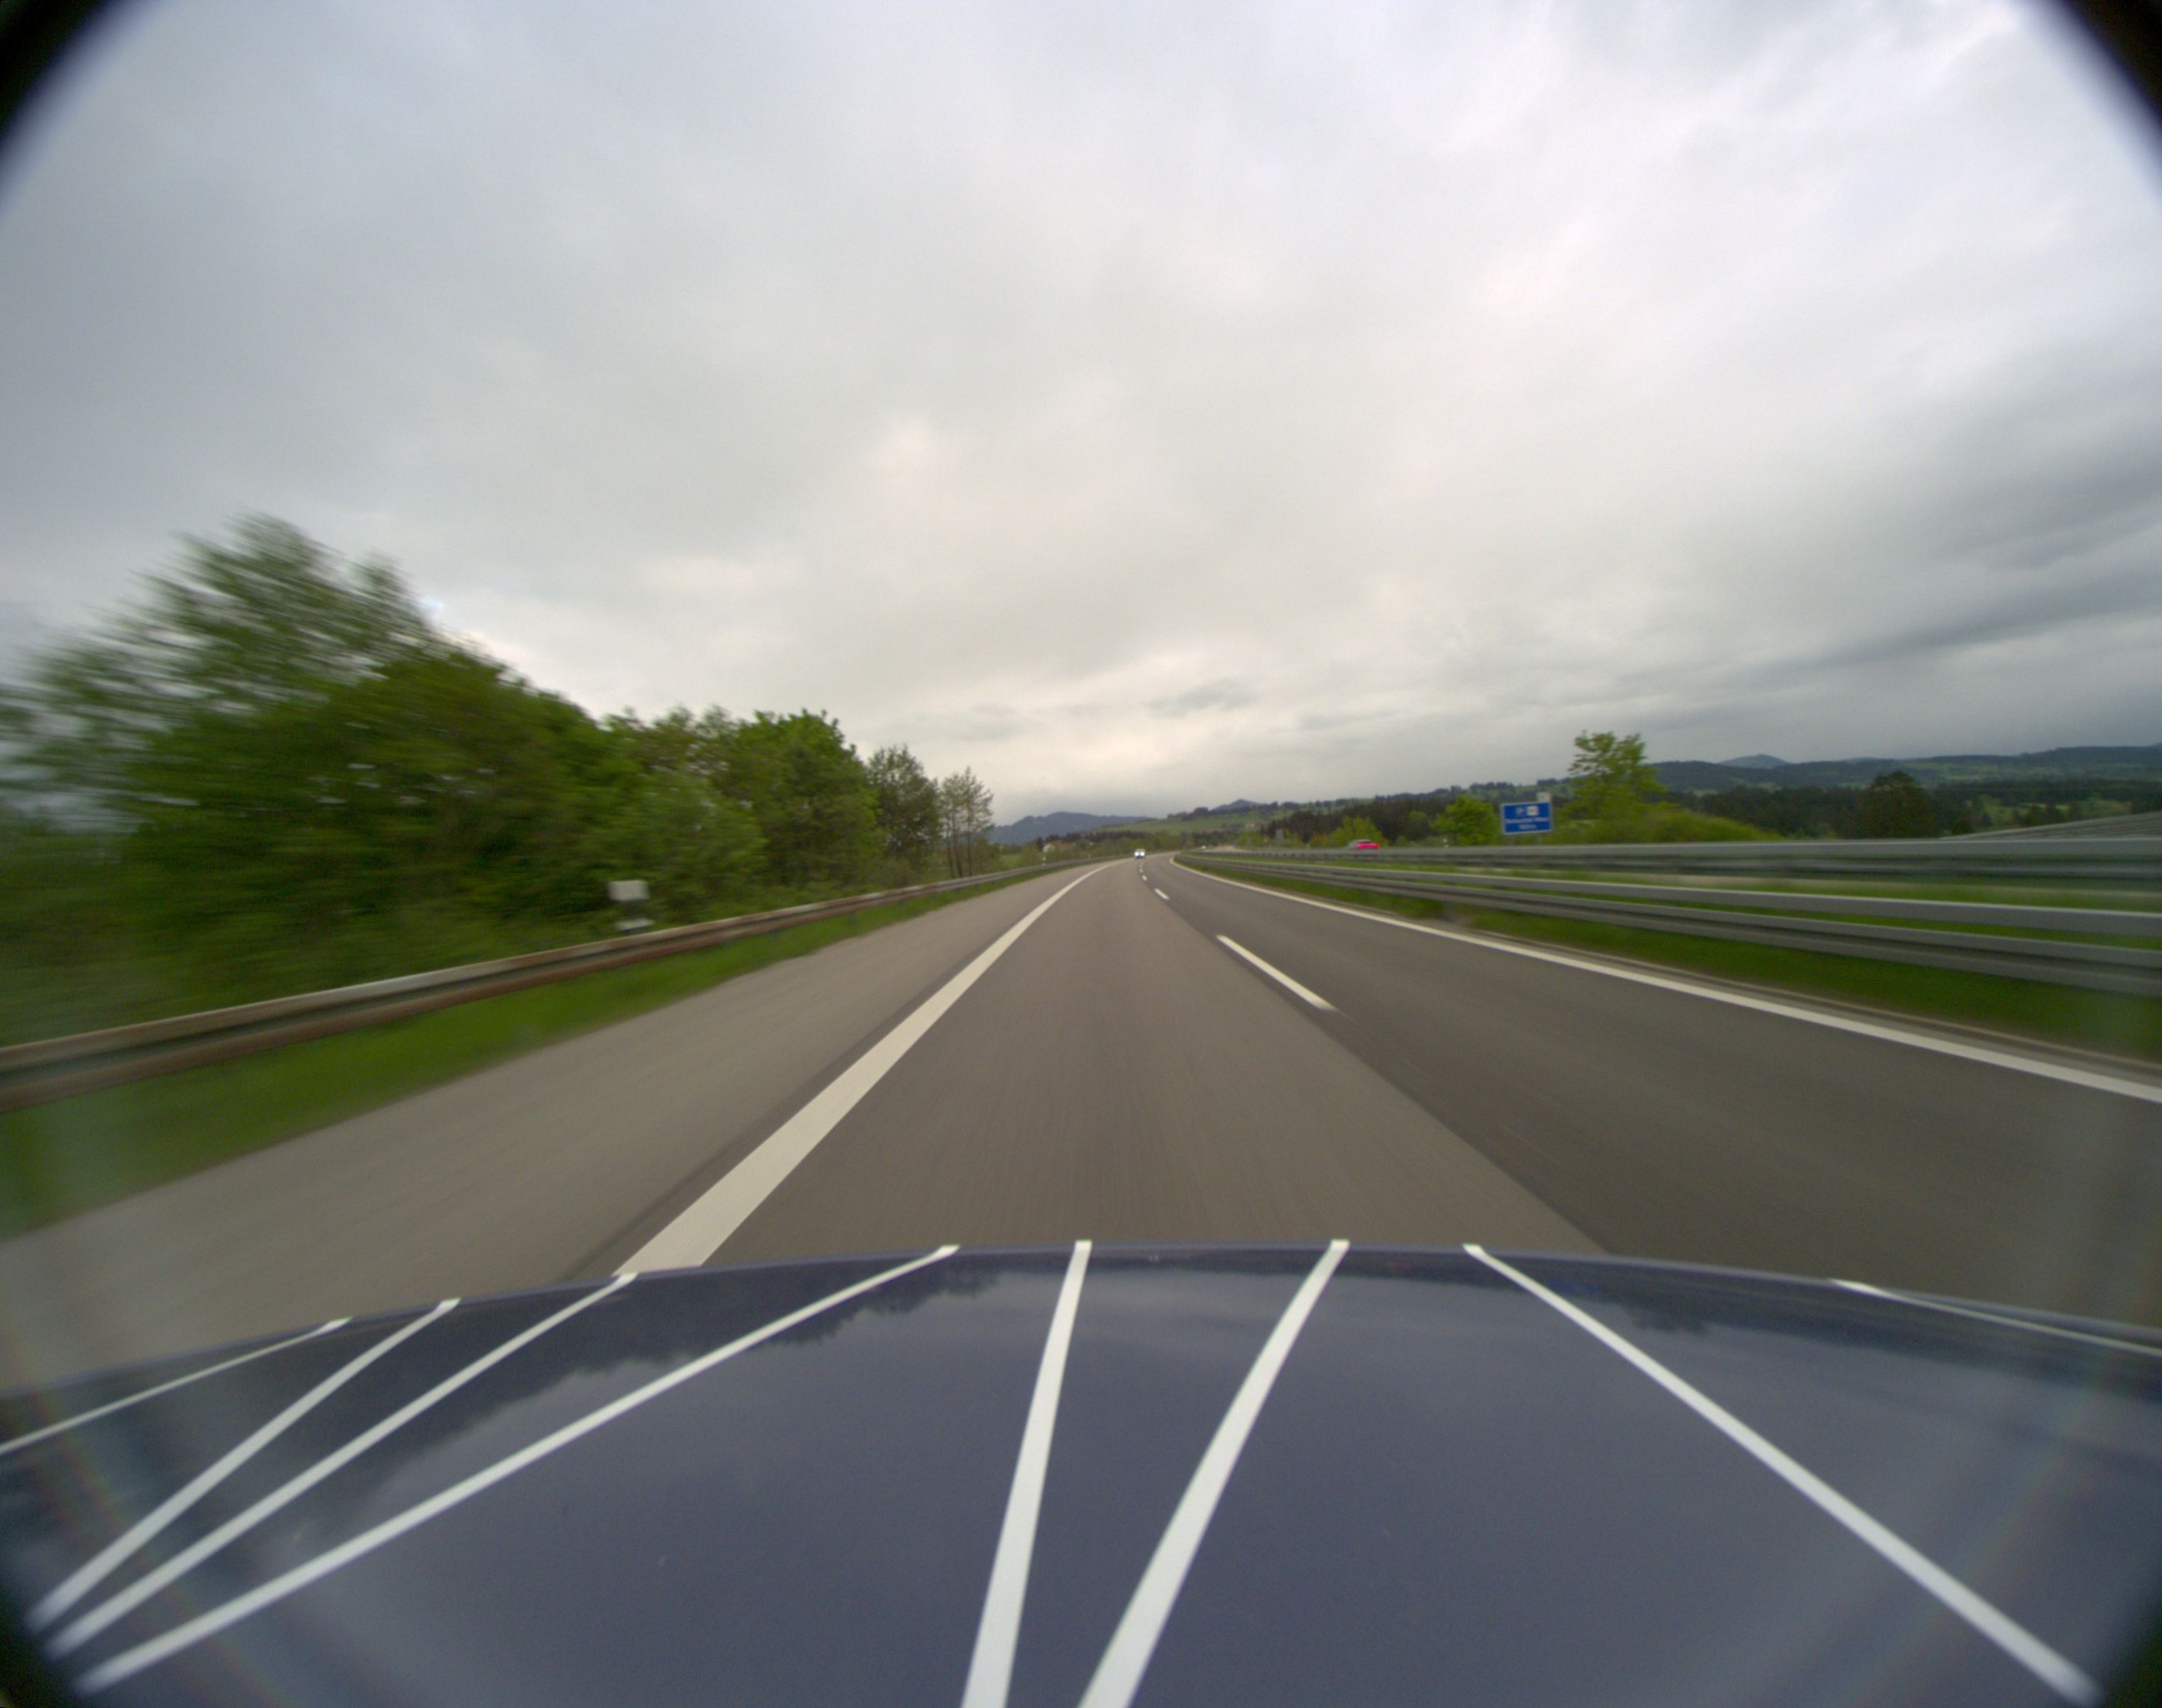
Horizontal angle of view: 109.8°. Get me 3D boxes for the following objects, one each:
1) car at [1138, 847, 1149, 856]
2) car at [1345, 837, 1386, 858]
[{"bbox_3d":[12.706,-0.491,154.879,2.020,1.899,4.223,-2,0,7],"label":"car"},{"bbox_3d":[23.763,-0.528,63.653,1.998,1.489,4.152,-5,0,4],"label":"car"}]
